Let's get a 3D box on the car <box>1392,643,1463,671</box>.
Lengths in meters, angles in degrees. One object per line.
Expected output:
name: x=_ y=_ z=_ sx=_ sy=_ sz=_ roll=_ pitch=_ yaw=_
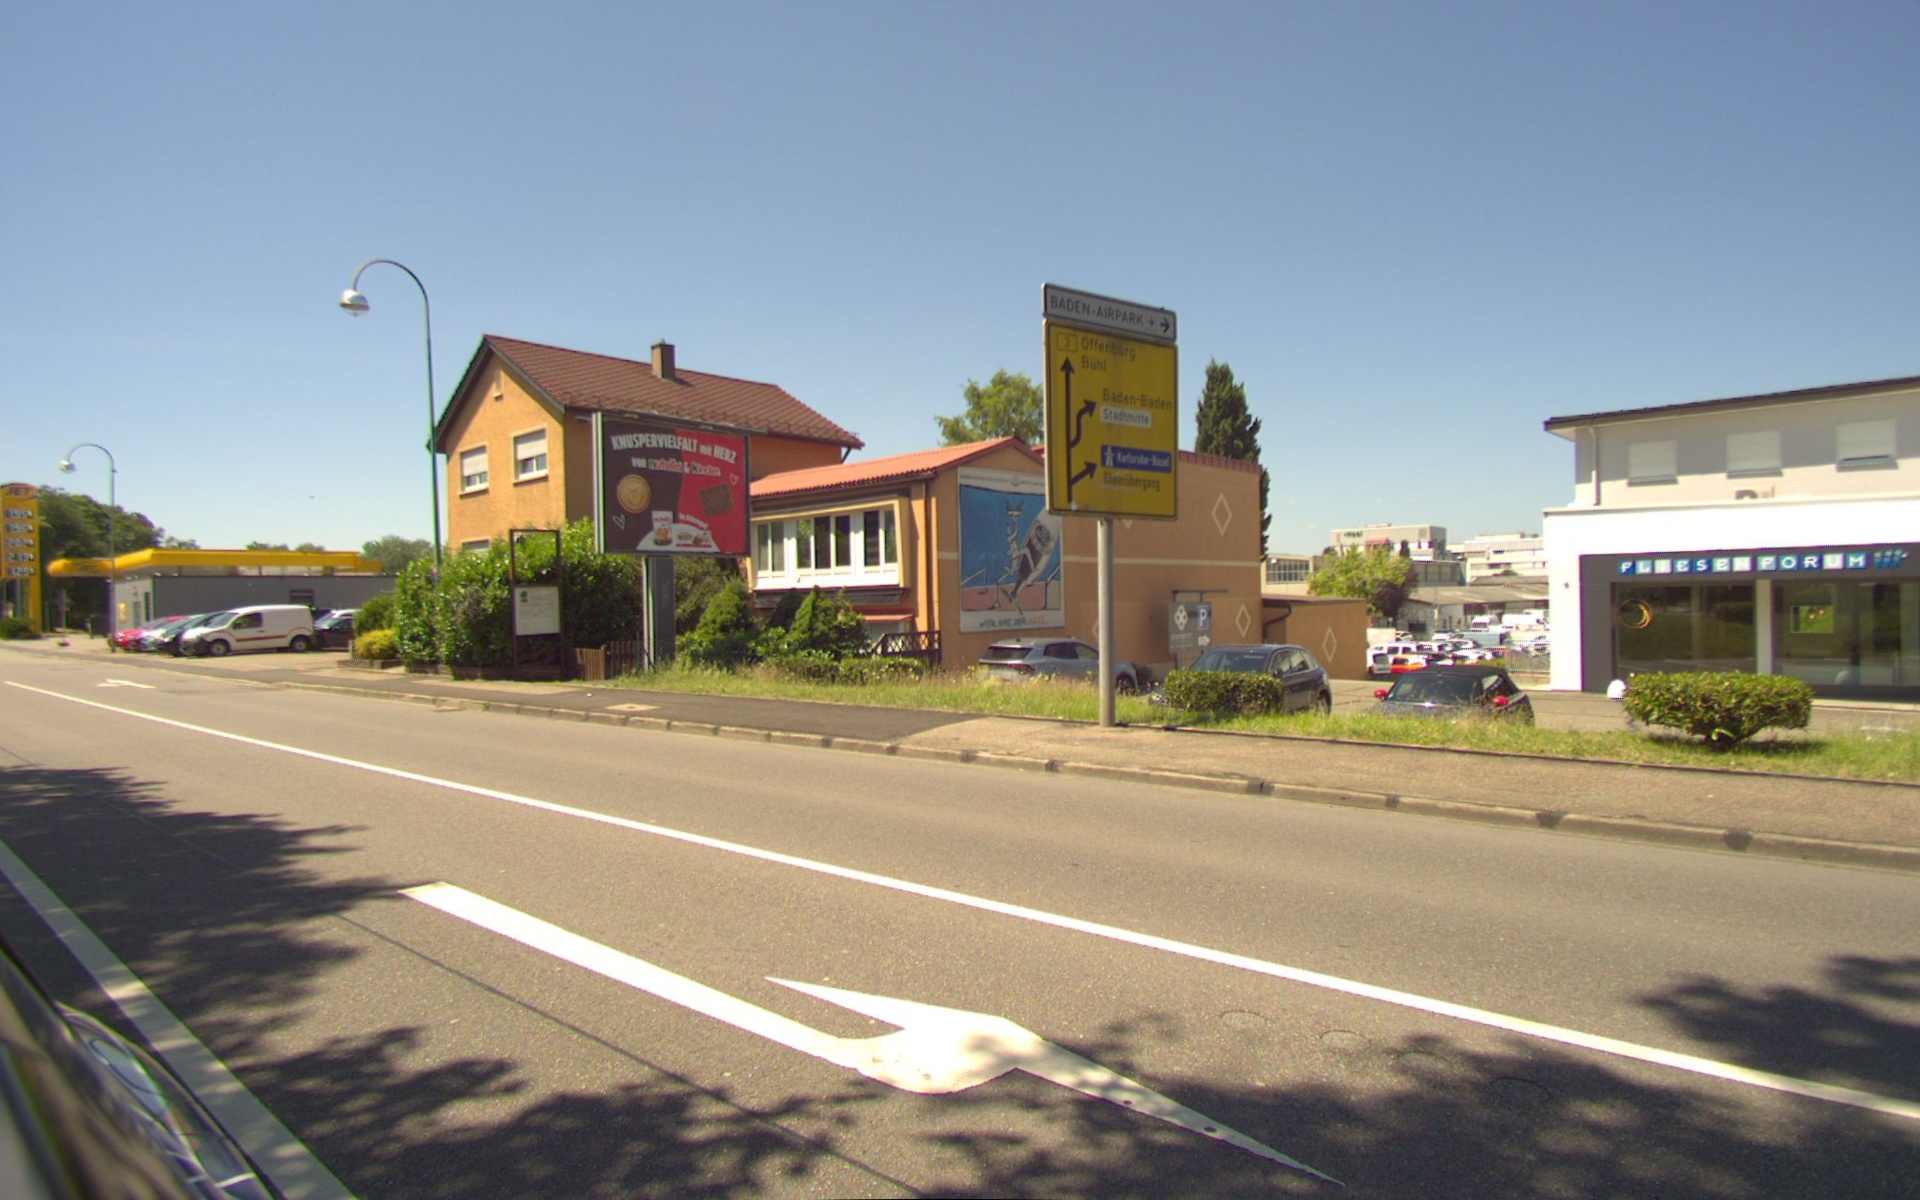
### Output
car: x=31.359 y=3.799 z=67.892 sx=3.998 sy=1.617 sz=1.813 roll=-1 pitch=0 yaw=41

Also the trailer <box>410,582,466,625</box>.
trailer: x=-40.815 y=0.307 z=78.999 sx=5.911 sy=3.244 sz=1.845 roll=-2 pitch=-1 yaw=41

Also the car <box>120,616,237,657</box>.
car: x=-33.615 y=1.524 z=43.593 sx=1.879 sy=1.617 sz=3.628 roll=-1 pitch=0 yaw=38

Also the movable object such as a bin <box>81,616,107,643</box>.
movable object such as a bin: x=-54.021 y=1.837 z=63.129 sx=1.427 sy=1.528 sz=0.942 roll=-3 pitch=3 yaw=42

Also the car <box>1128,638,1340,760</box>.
car: x=4.970 y=1.626 z=17.980 sx=1.895 sy=1.699 sz=4.285 roll=-1 pitch=0 yaw=42

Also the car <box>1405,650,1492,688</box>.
car: x=25.691 y=3.587 z=53.280 sx=3.816 sy=1.740 sz=1.729 roll=-1 pitch=0 yaw=41

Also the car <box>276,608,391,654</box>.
car: x=-27.284 y=1.308 z=44.139 sx=1.998 sy=1.875 sz=3.864 roll=-1 pitch=-1 yaw=39

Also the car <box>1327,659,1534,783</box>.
car: x=7.095 y=1.700 z=15.144 sx=1.781 sy=1.434 sz=3.300 roll=-2 pitch=-1 yaw=45

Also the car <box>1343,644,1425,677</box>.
car: x=24.389 y=3.440 z=58.241 sx=3.998 sy=1.665 sz=1.725 roll=-1 pitch=0 yaw=41

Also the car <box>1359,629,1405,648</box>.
car: x=34.829 y=3.146 z=83.528 sx=3.220 sy=1.488 sz=1.350 roll=-1 pitch=0 yaw=41

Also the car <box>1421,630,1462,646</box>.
car: x=45.399 y=3.547 z=95.388 sx=3.125 sy=1.395 sz=1.663 roll=-1 pitch=0 yaw=41

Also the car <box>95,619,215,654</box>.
car: x=-37.267 y=1.672 z=46.938 sx=1.825 sy=1.455 sz=4.084 roll=-1 pitch=0 yaw=40

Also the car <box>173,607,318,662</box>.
car: x=-26.876 y=1.249 z=38.163 sx=1.996 sy=1.912 sz=4.057 roll=-1 pitch=0 yaw=36

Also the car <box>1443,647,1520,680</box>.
car: x=28.687 y=3.471 z=55.683 sx=3.466 sy=1.604 sz=1.702 roll=-1 pitch=0 yaw=41

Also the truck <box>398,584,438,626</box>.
truck: x=-43.700 y=0.405 z=81.558 sx=3.188 sy=3.267 sz=1.826 roll=-2 pitch=-1 yaw=41

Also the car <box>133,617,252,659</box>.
car: x=-31.941 y=1.545 z=42.179 sx=1.920 sy=1.593 sz=3.628 roll=-1 pitch=0 yaw=38

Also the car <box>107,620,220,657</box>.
car: x=-35.557 y=1.681 z=45.236 sx=1.890 sy=1.468 sz=3.628 roll=-1 pitch=0 yaw=38

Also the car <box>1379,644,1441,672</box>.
car: x=28.615 y=3.664 z=64.341 sx=3.320 sy=1.558 sz=1.509 roll=-1 pitch=0 yaw=41

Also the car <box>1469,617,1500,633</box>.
car: x=61.768 y=2.931 z=119.168 sx=3.939 sy=1.843 sz=2.002 roll=-1 pitch=0 yaw=-43

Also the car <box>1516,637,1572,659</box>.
car: x=38.829 y=3.164 z=67.316 sx=3.042 sy=1.309 sz=1.288 roll=-1 pitch=0 yaw=41

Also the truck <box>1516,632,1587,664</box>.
truck: x=40.430 y=3.242 z=69.201 sx=3.982 sy=1.992 sz=1.663 roll=-1 pitch=0 yaw=41

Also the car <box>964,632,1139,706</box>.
car: x=2.134 y=1.492 z=23.046 sx=3.979 sy=1.462 sz=1.781 roll=0 pitch=-1 yaw=-43

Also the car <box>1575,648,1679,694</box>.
car: x=30.986 y=3.279 z=47.038 sx=3.725 sy=1.954 sz=1.881 roll=-1 pitch=-1 yaw=-11

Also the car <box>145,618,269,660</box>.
car: x=-30.327 y=1.520 z=40.826 sx=1.920 sy=1.543 sz=3.628 roll=-1 pitch=0 yaw=38

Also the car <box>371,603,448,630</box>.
car: x=-34.823 y=1.016 z=64.092 sx=1.754 sy=1.596 sz=3.944 roll=-1 pitch=0 yaw=42

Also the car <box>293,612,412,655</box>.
car: x=-25.634 y=1.381 z=42.797 sx=1.828 sy=1.580 sz=3.948 roll=-2 pitch=0 yaw=39

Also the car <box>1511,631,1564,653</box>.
car: x=42.913 y=3.087 z=75.223 sx=3.125 sy=1.545 sz=1.663 roll=-1 pitch=0 yaw=41

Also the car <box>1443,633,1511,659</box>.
car: x=37.118 y=3.274 z=72.646 sx=3.998 sy=1.829 sz=1.973 roll=-1 pitch=-1 yaw=41

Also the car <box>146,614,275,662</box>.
car: x=-28.868 y=1.422 z=39.036 sx=1.920 sy=1.685 sz=3.628 roll=-1 pitch=0 yaw=38

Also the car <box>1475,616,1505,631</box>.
car: x=59.472 y=2.609 z=113.592 sx=2.000 sy=1.608 sz=3.943 roll=-1 pitch=-1 yaw=43
